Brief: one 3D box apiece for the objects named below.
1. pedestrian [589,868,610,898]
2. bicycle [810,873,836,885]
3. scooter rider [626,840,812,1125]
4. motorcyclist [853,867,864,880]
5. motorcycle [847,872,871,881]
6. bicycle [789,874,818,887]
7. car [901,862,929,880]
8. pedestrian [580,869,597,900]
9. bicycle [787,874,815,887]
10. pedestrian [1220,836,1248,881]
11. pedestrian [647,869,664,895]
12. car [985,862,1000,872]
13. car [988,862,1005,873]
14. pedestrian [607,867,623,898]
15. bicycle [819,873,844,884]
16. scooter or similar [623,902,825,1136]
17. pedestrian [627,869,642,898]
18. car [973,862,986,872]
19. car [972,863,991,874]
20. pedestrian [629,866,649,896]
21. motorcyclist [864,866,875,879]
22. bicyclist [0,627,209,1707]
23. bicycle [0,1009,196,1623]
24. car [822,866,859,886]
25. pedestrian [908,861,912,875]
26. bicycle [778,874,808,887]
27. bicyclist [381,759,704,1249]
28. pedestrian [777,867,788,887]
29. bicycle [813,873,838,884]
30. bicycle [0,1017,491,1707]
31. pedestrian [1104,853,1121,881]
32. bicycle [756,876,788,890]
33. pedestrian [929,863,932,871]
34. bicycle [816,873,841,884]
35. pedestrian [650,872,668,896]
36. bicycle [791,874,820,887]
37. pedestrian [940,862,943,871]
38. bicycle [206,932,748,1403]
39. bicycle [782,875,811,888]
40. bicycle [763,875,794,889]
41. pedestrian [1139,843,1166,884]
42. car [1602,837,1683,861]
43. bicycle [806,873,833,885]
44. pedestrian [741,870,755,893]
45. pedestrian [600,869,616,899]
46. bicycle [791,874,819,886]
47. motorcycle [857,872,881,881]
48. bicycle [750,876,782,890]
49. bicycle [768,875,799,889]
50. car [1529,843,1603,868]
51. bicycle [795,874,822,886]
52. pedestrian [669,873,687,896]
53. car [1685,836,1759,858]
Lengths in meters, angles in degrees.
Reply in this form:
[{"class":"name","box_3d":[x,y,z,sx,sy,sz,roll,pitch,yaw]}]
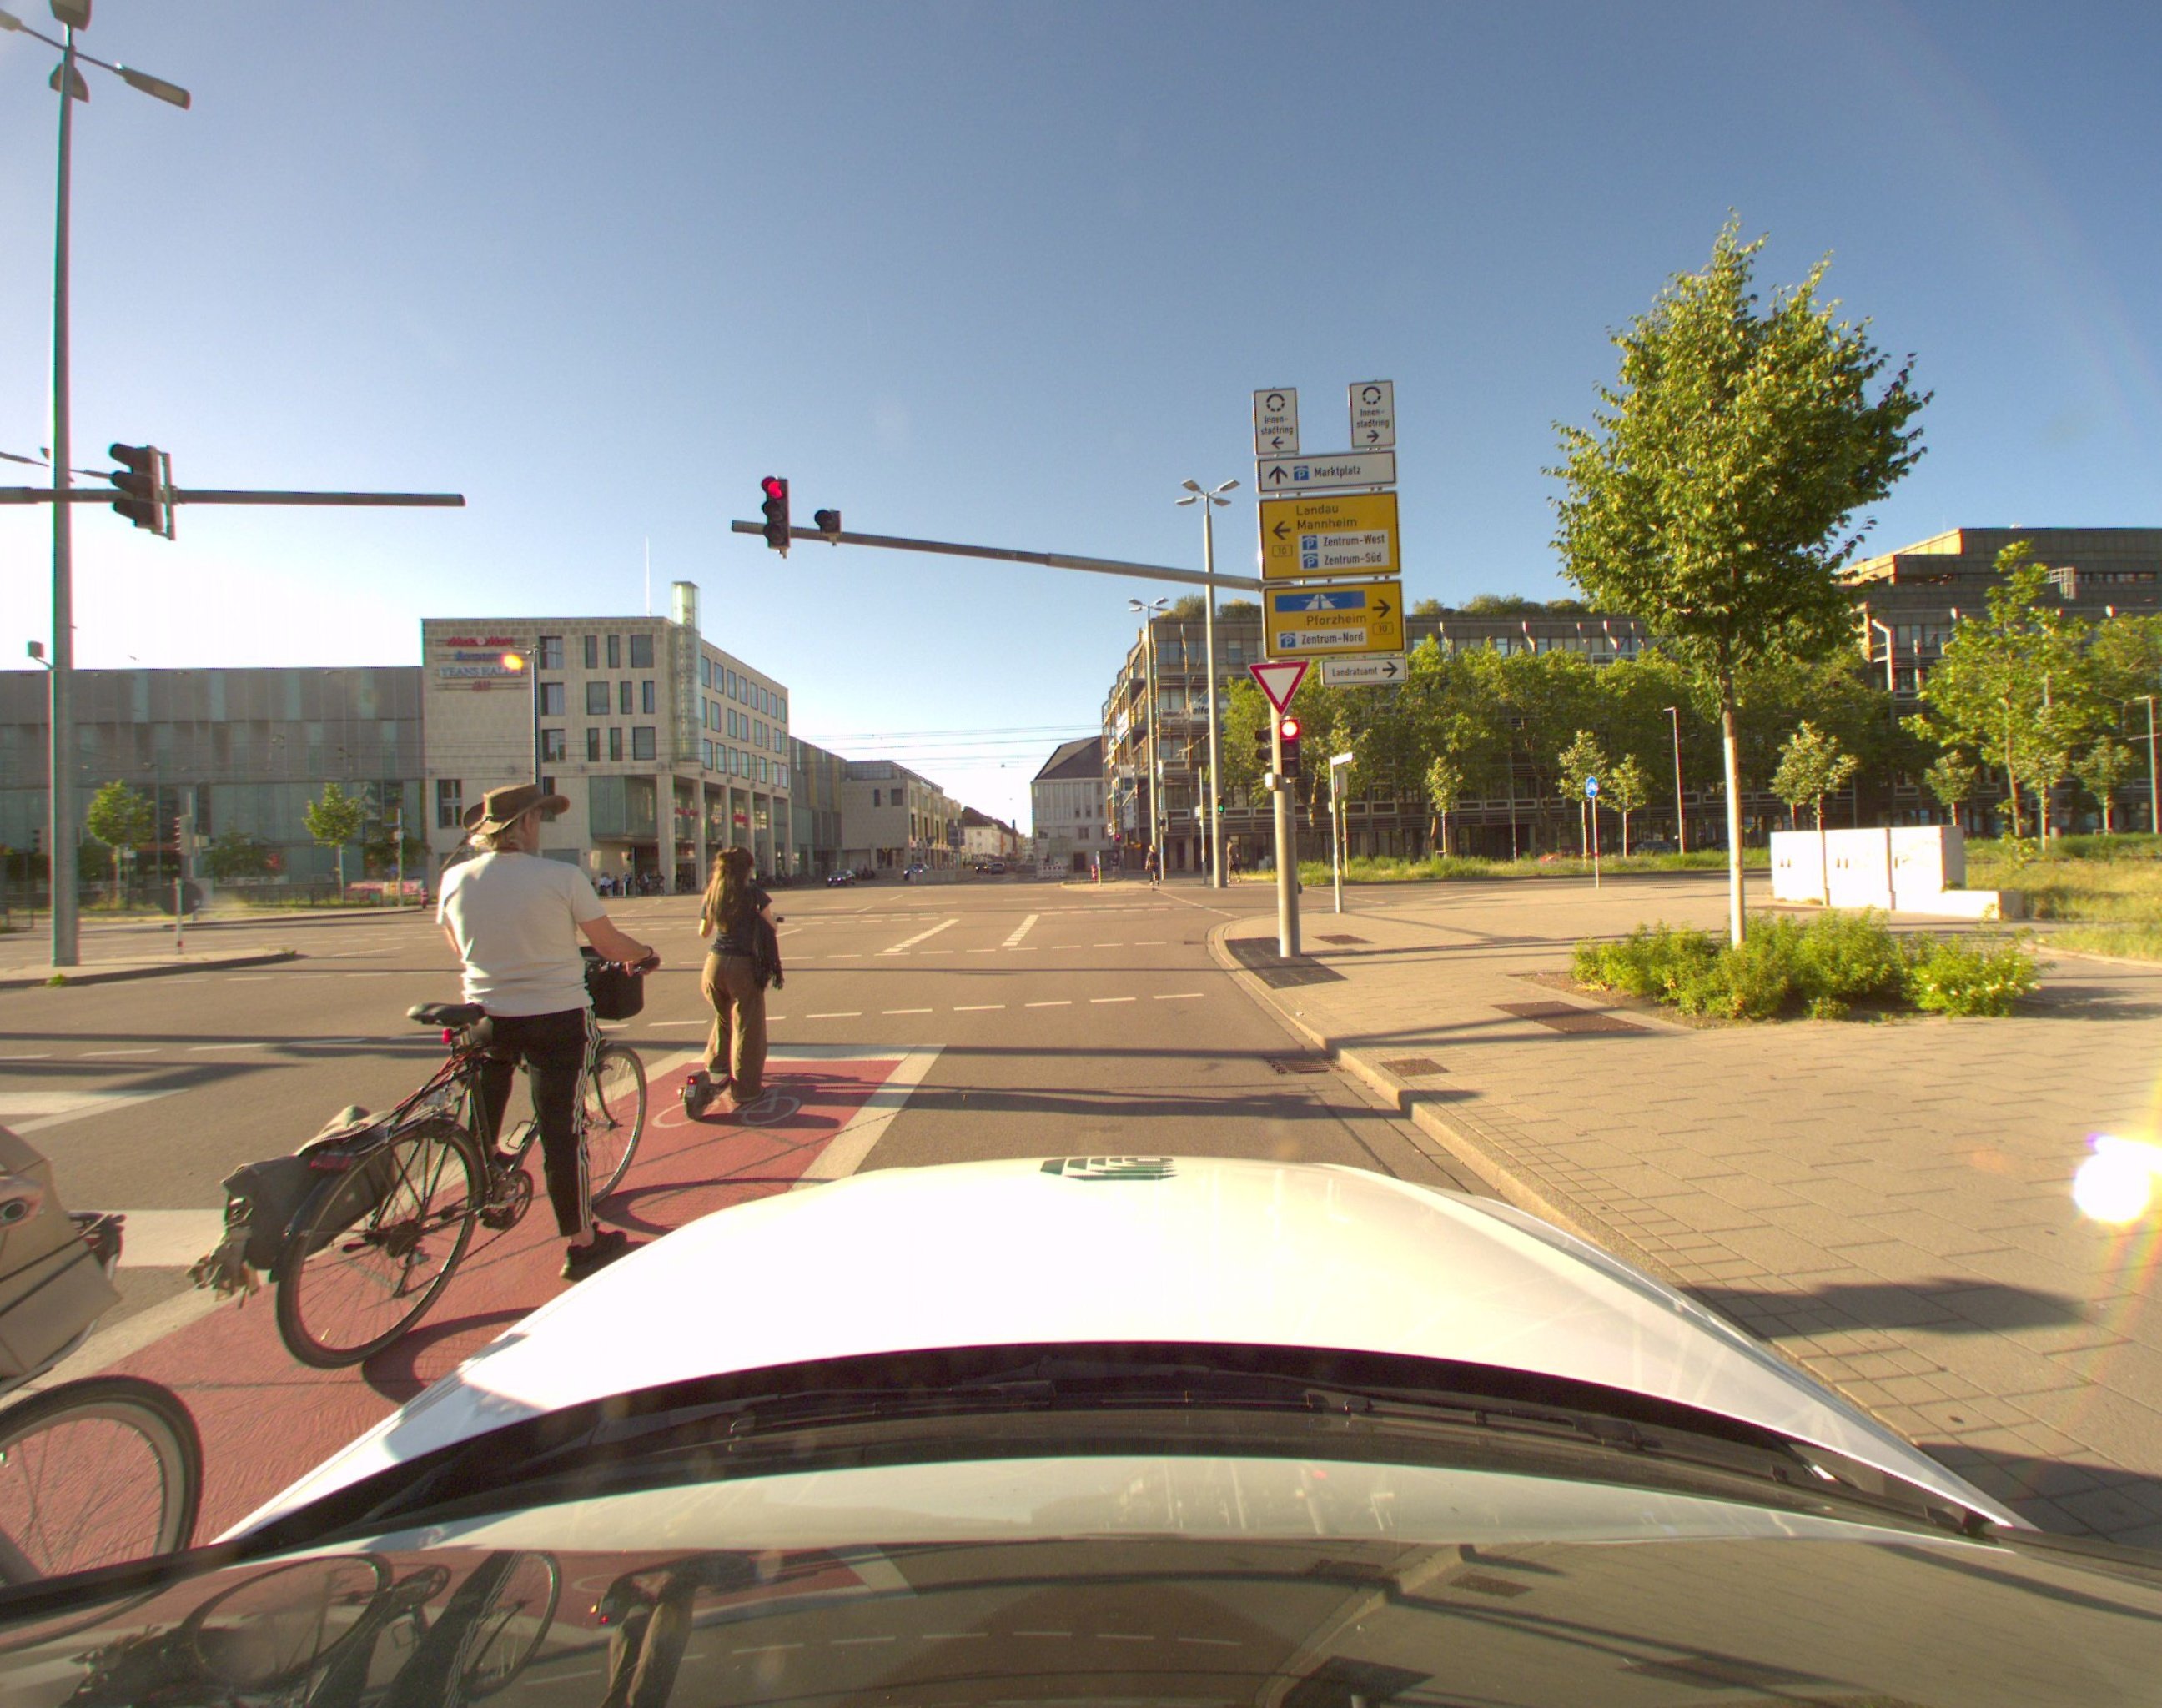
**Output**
[{"class":"pedestrian","box_3d":[-33.944,2.033,57.413,0.894,2.124,0.945,-2,-1,-6]},{"class":"bicycle","box_3d":[-27.046,2.606,85.510,2.458,1.111,0.661,-2,0,2]},{"class":"scooter rider","box_3d":[-2.164,0.700,5.009,0.640,1.544,1.116,-1,0,-1]},{"class":"motorcyclist","box_3d":[-26.004,2.267,95.133,1.035,1.471,0.914,0,-1,-5]},{"class":"motorcycle","box_3d":[-25.919,2.665,95.148,2.664,0.996,0.914,0,-1,-6]},{"class":"bicycle","box_3d":[-26.658,2.542,78.237,2.458,1.111,0.684,-2,0,2]},{"class":"car","box_3d":[-16.102,1.656,79.276,1.933,1.677,4.290,-2,-1,-3]},{"class":"pedestrian","box_3d":[-35.245,2.174,58.277,0.900,2.124,0.939,-1,-1,-25]},{"class":"bicycle","box_3d":[-26.618,2.542,77.460,2.458,1.111,0.684,-2,0,2]},{"class":"pedestrian","box_3d":[6.086,0.160,32.400,0.854,1.744,0.737,-2,0,-7]},{"class":"pedestrian","box_3d":[-33.605,2.188,64.352,0.914,2.014,1.020,-2,-1,-10]},{"class":"car","box_3d":[-16.969,2.511,157.227,2.167,1.692,5.615,-2,-1,1]},{"class":"car","box_3d":[-11.207,1.779,108.728,1.931,1.450,4.259,-2,-1,-2]},{"class":"pedestrian","box_3d":[-32.564,1.963,56.922,0.902,2.124,0.937,-1,-1,-33]},{"class":"bicycle","box_3d":[-26.958,2.627,88.088,2.458,1.111,0.661,-2,0,2]},{"class":"scooter or similar","box_3d":[-2.177,0.940,5.179,0.640,1.175,1.483,-1,0,-1]},{"class":"pedestrian","box_3d":[-32.528,2.131,59.311,0.920,2.014,1.013,-1,-1,-31]},{"class":"car","box_3d":[-21.584,2.794,173.677,2.168,1.873,5.610,-2,-1,-2]},{"class":"car","box_3d":[-16.211,2.334,133.086,2.166,1.692,5.488,-2,-1,1]},{"class":"pedestrian","box_3d":[-31.524,1.924,58.034,1.068,2.129,1.086,-1,-1,-37]},{"class":"motorcyclist","box_3d":[-25.606,2.265,98.612,1.135,1.575,0.914,0,-1,-5]},{"class":"bicyclist","box_3d":[-1.692,0.490,0.828,0.648,1.543,0.847,-2,0,1]},{"class":"bicycle","box_3d":[-2.420,0.933,1.006,0.621,1.116,1.816,-2,0,1]},{"class":"car","box_3d":[-20.822,1.895,70.695,1.931,1.581,4.293,-2,0,0]},{"class":"pedestrian","box_3d":[-24.594,2.015,117.112,0.616,2.014,0.476,0,-1,-13]},{"class":"bicycle","box_3d":[-26.408,2.402,74.669,2.458,1.111,0.684,-2,0,2]},{"class":"bicyclist","box_3d":[-2.048,0.516,3.214,0.697,1.669,0.786,-2,0,0]},{"class":"pedestrian","box_3d":[-30.200,2.334,82.309,0.949,1.982,1.000,-1,-1,-23]},{"class":"bicycle","box_3d":[-27.035,2.619,86.212,2.458,1.111,0.661,-2,0,2]},{"class":"bicycle","box_3d":[-1.681,0.924,0.933,0.648,1.094,1.800,-2,0,1]},{"class":"pedestrian","box_3d":[2.220,0.914,57.469,1.005,1.911,1.054,-2,0,11]},{"class":"bicycle","box_3d":[-26.817,2.504,70.711,2.458,1.111,0.684,-2,0,2]},{"class":"pedestrian","box_3d":[-23.336,1.998,126.196,0.487,1.356,0.563,0,-1,-4]},{"class":"bicycle","box_3d":[-26.975,2.629,86.890,2.458,1.111,0.631,-2,0,2]},{"class":"pedestrian","box_3d":[-30.875,2.192,59.570,1.012,1.651,0.938,-1,-1,-37]},{"class":"bicycle","box_3d":[-26.706,2.550,79.051,2.458,1.111,0.835,-2,0,2]},{"class":"pedestrian","box_3d":[-22.670,2.045,132.522,0.487,1.356,0.563,0,-1,-4]},{"class":"bicycle","box_3d":[-2.029,0.946,3.139,0.704,1.094,1.800,-2,0,0]},{"class":"bicycle","box_3d":[-26.647,2.532,76.234,2.458,1.111,0.594,-2,0,2]},{"class":"bicycle","box_3d":[-26.731,2.506,72.075,2.457,1.111,0.685,-2,0,4]},{"class":"pedestrian","box_3d":[2.776,0.351,31.779,0.894,1.549,0.922,-2,1,-5]},{"class":"car","box_3d":[41.777,-0.378,60.613,4.848,1.680,1.995,-2,1,-7]},{"class":"bicycle","box_3d":[-27.158,2.606,84.624,2.458,1.111,0.835,-2,0,2]},{"class":"pedestrian","box_3d":[-25.622,2.134,62.734,0.748,1.740,0.756,-2,-1,-1]},{"class":"pedestrian","box_3d":[-34.141,2.171,58.810,0.900,2.124,0.939,-1,-1,-25]},{"class":"bicycle","box_3d":[-27.141,2.566,80.028,2.458,1.111,0.684,-2,0,2]},{"class":"motorcycle","box_3d":[-25.627,2.691,98.592,2.664,0.996,0.914,0,-1,-6]},{"class":"bicycle","box_3d":[-26.834,2.491,69.364,2.394,1.113,0.658,-2,0,1]},{"class":"bicycle","box_3d":[-26.612,2.499,72.882,2.458,1.111,0.684,-2,0,2]},{"class":"car","box_3d":[32.797,0.116,55.139,3.857,1.486,1.844,-2,-3,-2]},{"class":"bicycle","box_3d":[-27.196,2.576,81.281,2.458,1.111,0.835,-2,0,2]},{"class":"pedestrian","box_3d":[-29.063,2.185,58.719,0.950,1.571,0.832,-1,-1,-39]},{"class":"car","box_3d":[47.924,-0.504,60.959,3.976,1.521,1.999,-2,0,-2]}]
